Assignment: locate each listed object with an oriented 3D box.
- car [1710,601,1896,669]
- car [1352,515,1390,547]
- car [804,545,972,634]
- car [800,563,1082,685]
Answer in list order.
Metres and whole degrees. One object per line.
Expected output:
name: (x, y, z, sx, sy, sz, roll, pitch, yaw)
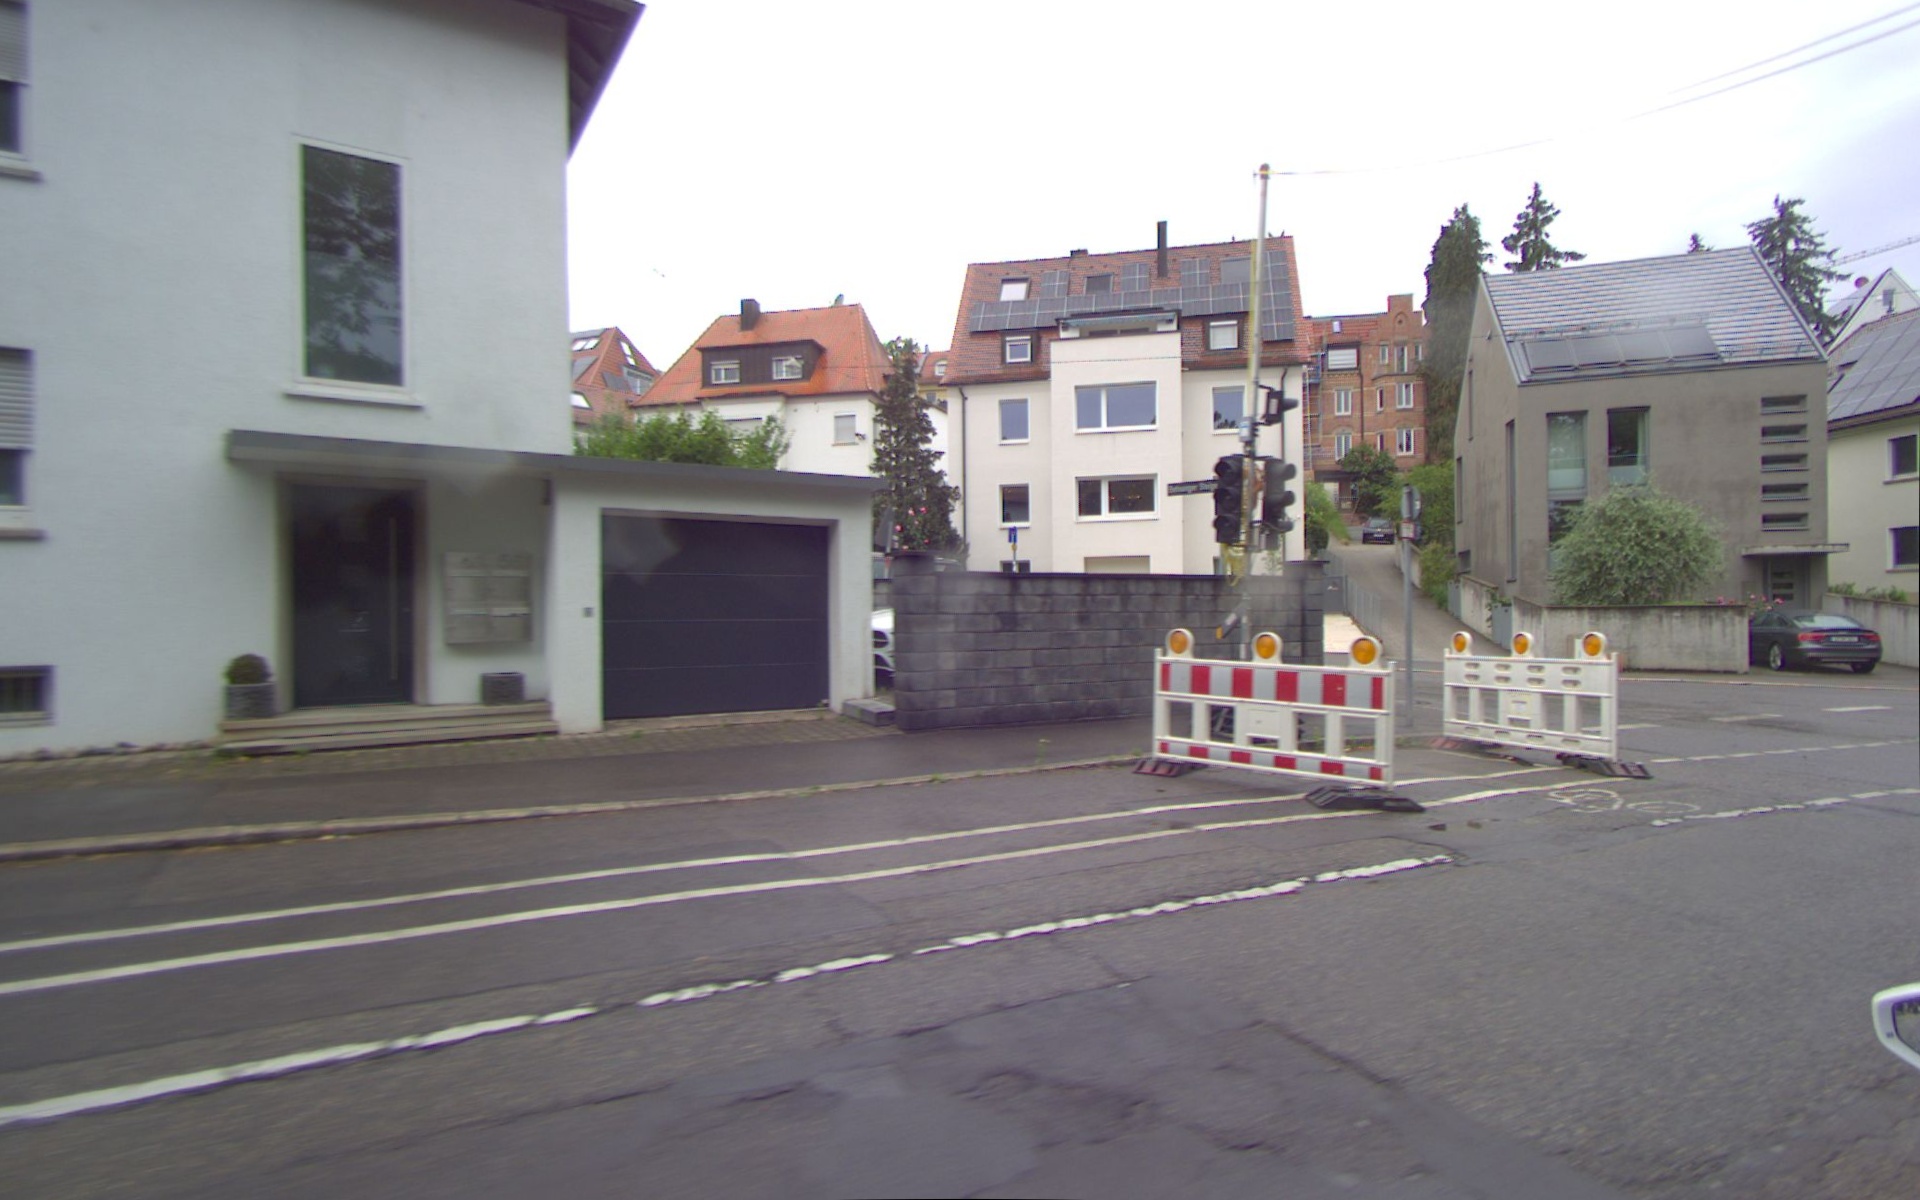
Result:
car: (20.161, 0.769, 24.264, 1.802, 1.463, 4.002, 0, 0, 13)
car: (23.330, -3.882, 57.115, 1.746, 1.483, 3.617, 0, -1, 18)
car: (-1.908, -0.288, 26.150, 3.936, 1.945, 1.992, 6, 2, 37)
car: (-0.221, 0.330, 14.028, 3.580, 1.483, 1.764, 1, -1, -35)
